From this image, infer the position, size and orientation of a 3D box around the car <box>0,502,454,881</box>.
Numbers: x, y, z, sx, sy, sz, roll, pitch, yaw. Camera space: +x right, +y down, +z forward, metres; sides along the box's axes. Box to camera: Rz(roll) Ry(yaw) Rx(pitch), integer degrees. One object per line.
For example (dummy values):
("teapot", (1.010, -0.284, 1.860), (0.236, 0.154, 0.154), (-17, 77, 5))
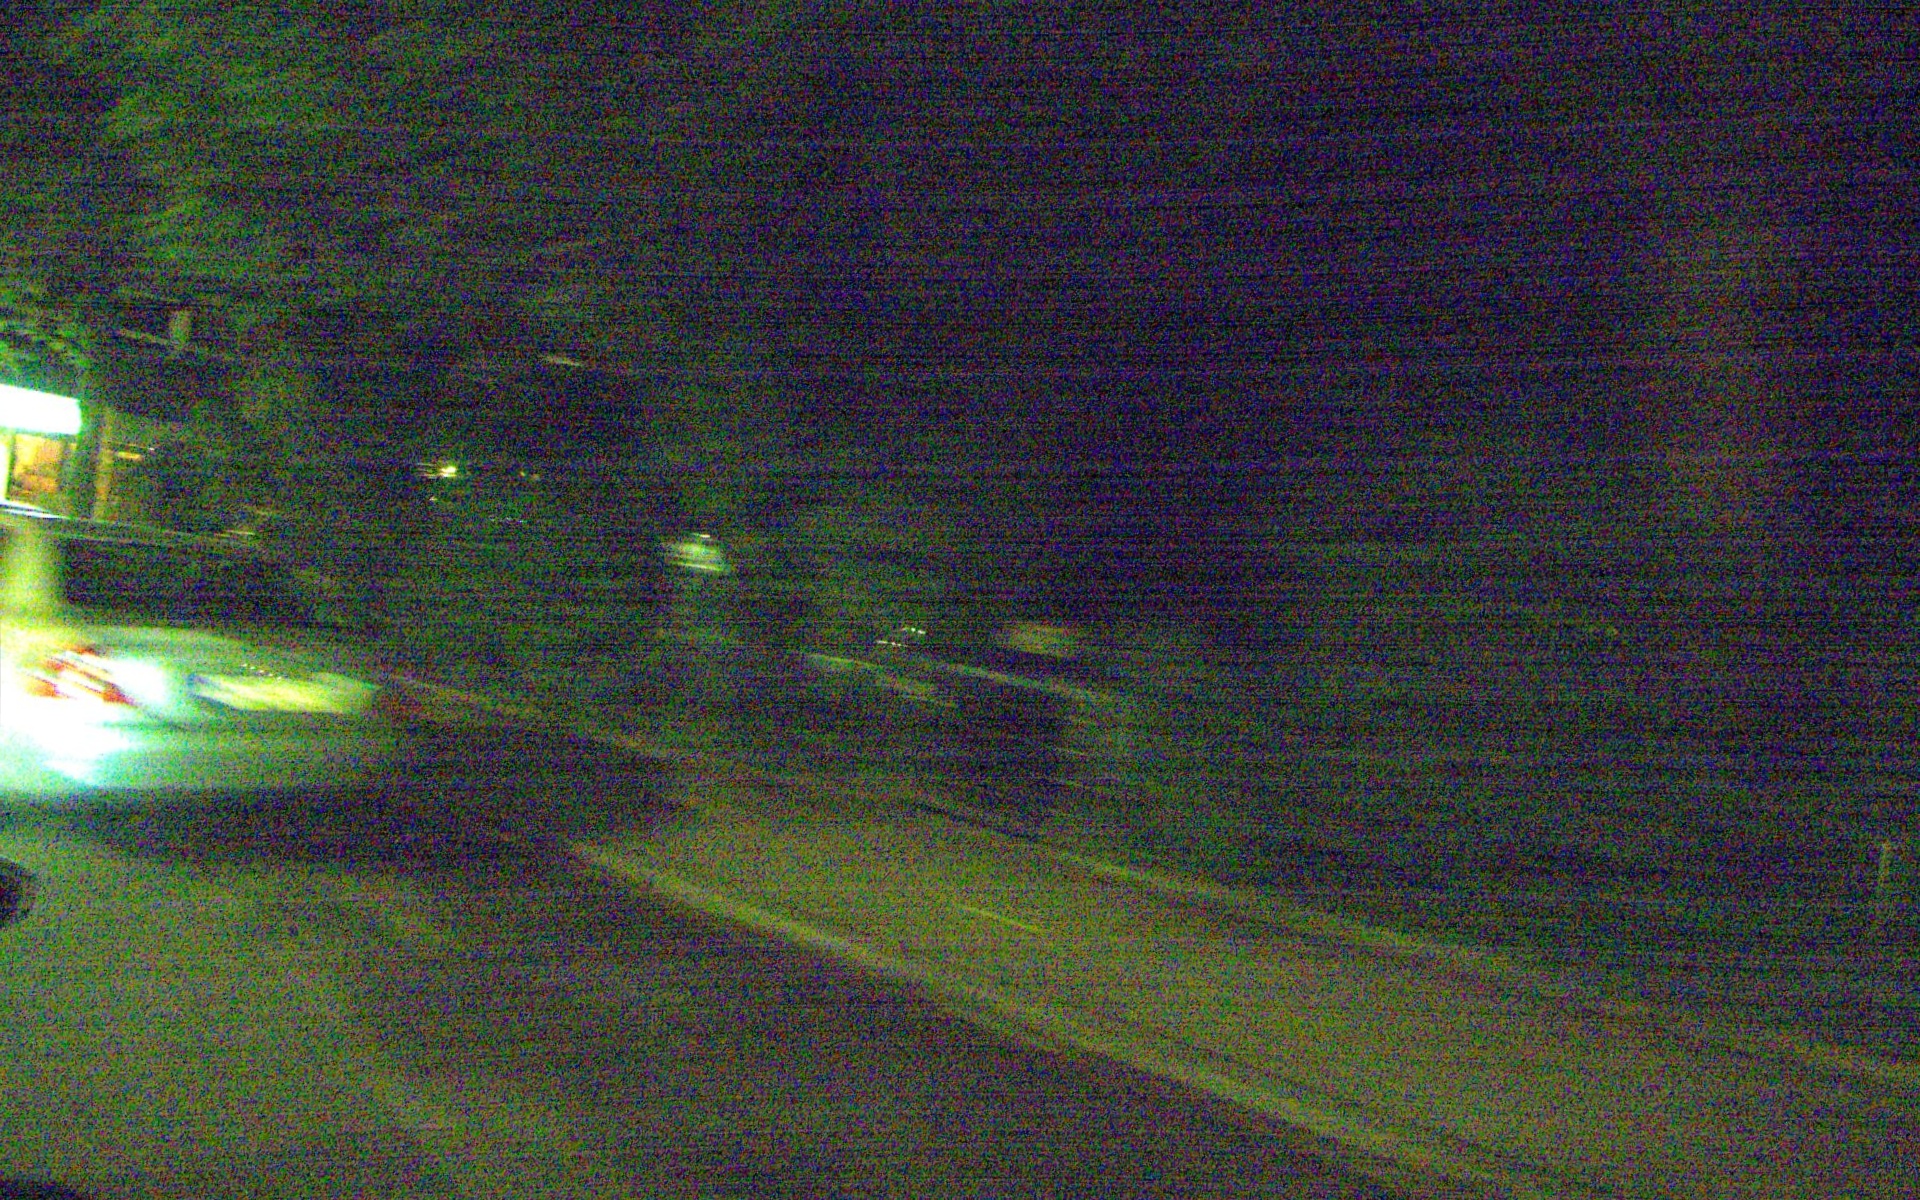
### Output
("car", (-5.081, 0.246, 5.885), (4.538, 1.463, 1.679), (7, -2, 34))

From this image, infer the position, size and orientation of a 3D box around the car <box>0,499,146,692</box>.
("car", (-9.210, -0.264, 8.794), (4.217, 1.454, 1.784), (7, -2, 31))
